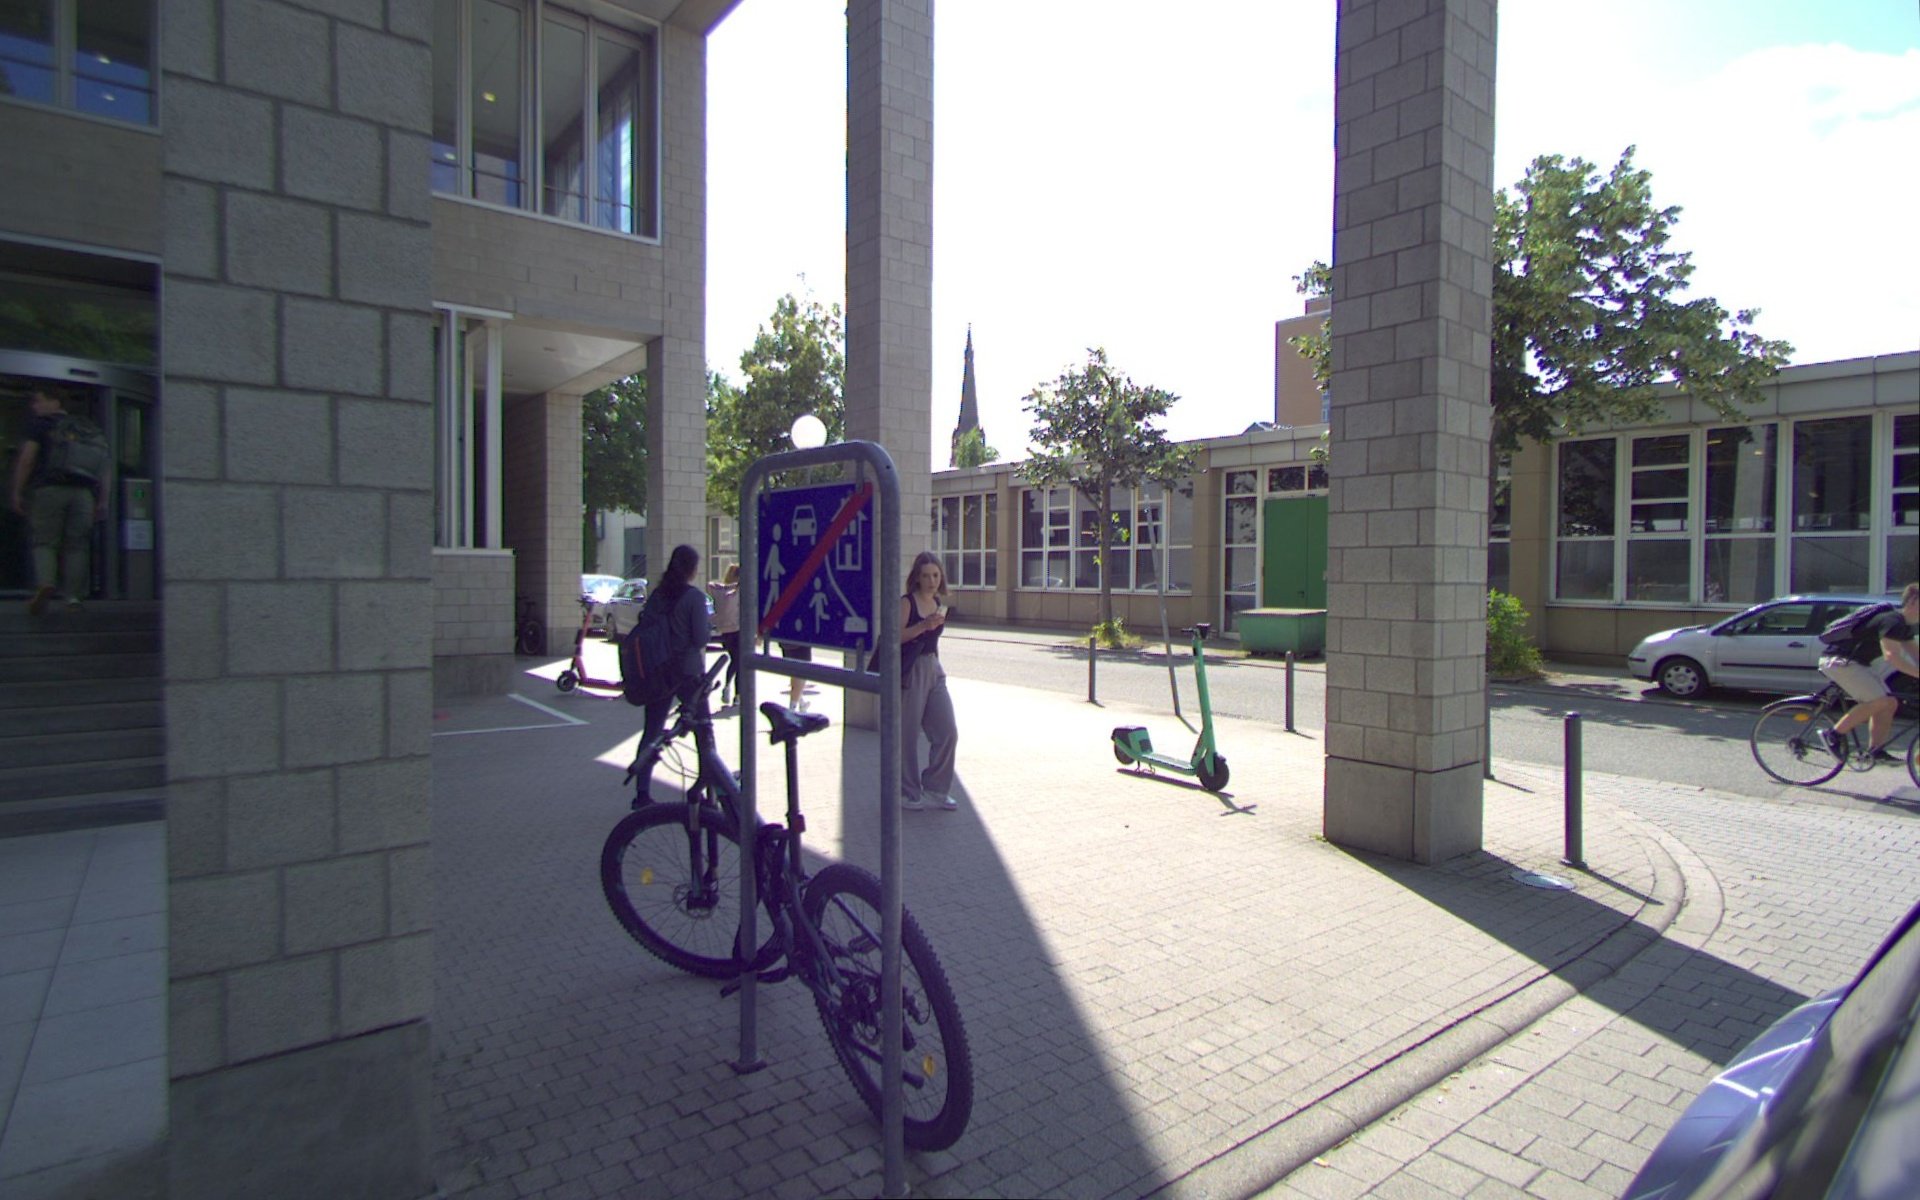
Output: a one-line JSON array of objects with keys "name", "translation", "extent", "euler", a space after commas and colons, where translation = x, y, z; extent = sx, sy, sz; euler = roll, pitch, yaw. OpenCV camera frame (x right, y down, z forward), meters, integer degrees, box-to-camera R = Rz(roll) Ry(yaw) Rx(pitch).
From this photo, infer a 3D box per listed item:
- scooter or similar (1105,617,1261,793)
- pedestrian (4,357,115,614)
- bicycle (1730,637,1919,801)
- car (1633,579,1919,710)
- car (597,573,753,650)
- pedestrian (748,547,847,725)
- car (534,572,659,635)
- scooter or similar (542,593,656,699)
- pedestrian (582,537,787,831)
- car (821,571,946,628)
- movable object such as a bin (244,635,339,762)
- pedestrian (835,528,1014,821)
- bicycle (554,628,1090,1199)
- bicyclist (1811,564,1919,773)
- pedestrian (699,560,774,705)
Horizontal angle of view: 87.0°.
[{"name": "scooter or similar", "translation": [1.648, 0.739, 7.614], "extent": [0.436, 1.165, 1.159], "euler": [0, 1, -33]}, {"name": "pedestrian", "translation": [-6.797, -0.825, 7.667], "extent": [0.579, 1.825, 0.684], "euler": [0, 1, -39]}, {"name": "bicycle", "translation": [7.257, 0.923, 7.941], "extent": [0.593, 1.121, 1.831], "euler": [-3, 3, -35]}, {"name": "car", "translation": [11.426, 0.508, 13.496], "extent": [1.624, 1.494, 3.777], "euler": [-3, 3, -38]}, {"name": "car", "translation": [-6.315, 0.185, 22.142], "extent": [1.819, 1.494, 4.130], "euler": [0, 1, -39]}, {"name": "pedestrian", "translation": [-1.662, 0.344, 10.446], "extent": [0.767, 1.746, 0.858], "euler": [1, 1, 10]}, {"name": "car", "translation": [-9.569, 0.039, 26.472], "extent": [1.819, 1.494, 4.130], "euler": [0, 1, -39]}, {"name": "scooter or similar", "translation": [-4.469, 0.547, 12.530], "extent": [1.410, 1.239, 0.356], "euler": [1, 1, 19]}, {"name": "pedestrian", "translation": [-1.644, 0.442, 6.089], "extent": [0.814, 1.594, 0.870], "euler": [1, 1, 33]}, {"name": "car", "translation": [-2.415, -0.090, 31.131], "extent": [1.819, 1.597, 4.130], "euler": [-2, 3, -39]}, {"name": "movable object such as a bin", "translation": [-5.430, 0.779, 8.231], "extent": [0.370, 0.950, 0.546], "euler": [0, 1, 32]}, {"name": "pedestrian", "translation": [-0.229, 0.412, 6.340], "extent": [0.880, 1.676, 0.691], "euler": [1, 1, 45]}, {"name": "bicycle", "translation": [-0.547, 0.744, 3.027], "extent": [0.595, 1.178, 1.883], "euler": [1, 2, -43]}, {"name": "bicyclist", "translation": [7.244, 0.500, 7.945], "extent": [0.594, 1.553, 0.727], "euler": [-3, 3, -36]}, {"name": "pedestrian", "translation": [-2.589, 0.350, 11.791], "extent": [0.580, 1.619, 0.825], "euler": [1, 1, 9]}]
